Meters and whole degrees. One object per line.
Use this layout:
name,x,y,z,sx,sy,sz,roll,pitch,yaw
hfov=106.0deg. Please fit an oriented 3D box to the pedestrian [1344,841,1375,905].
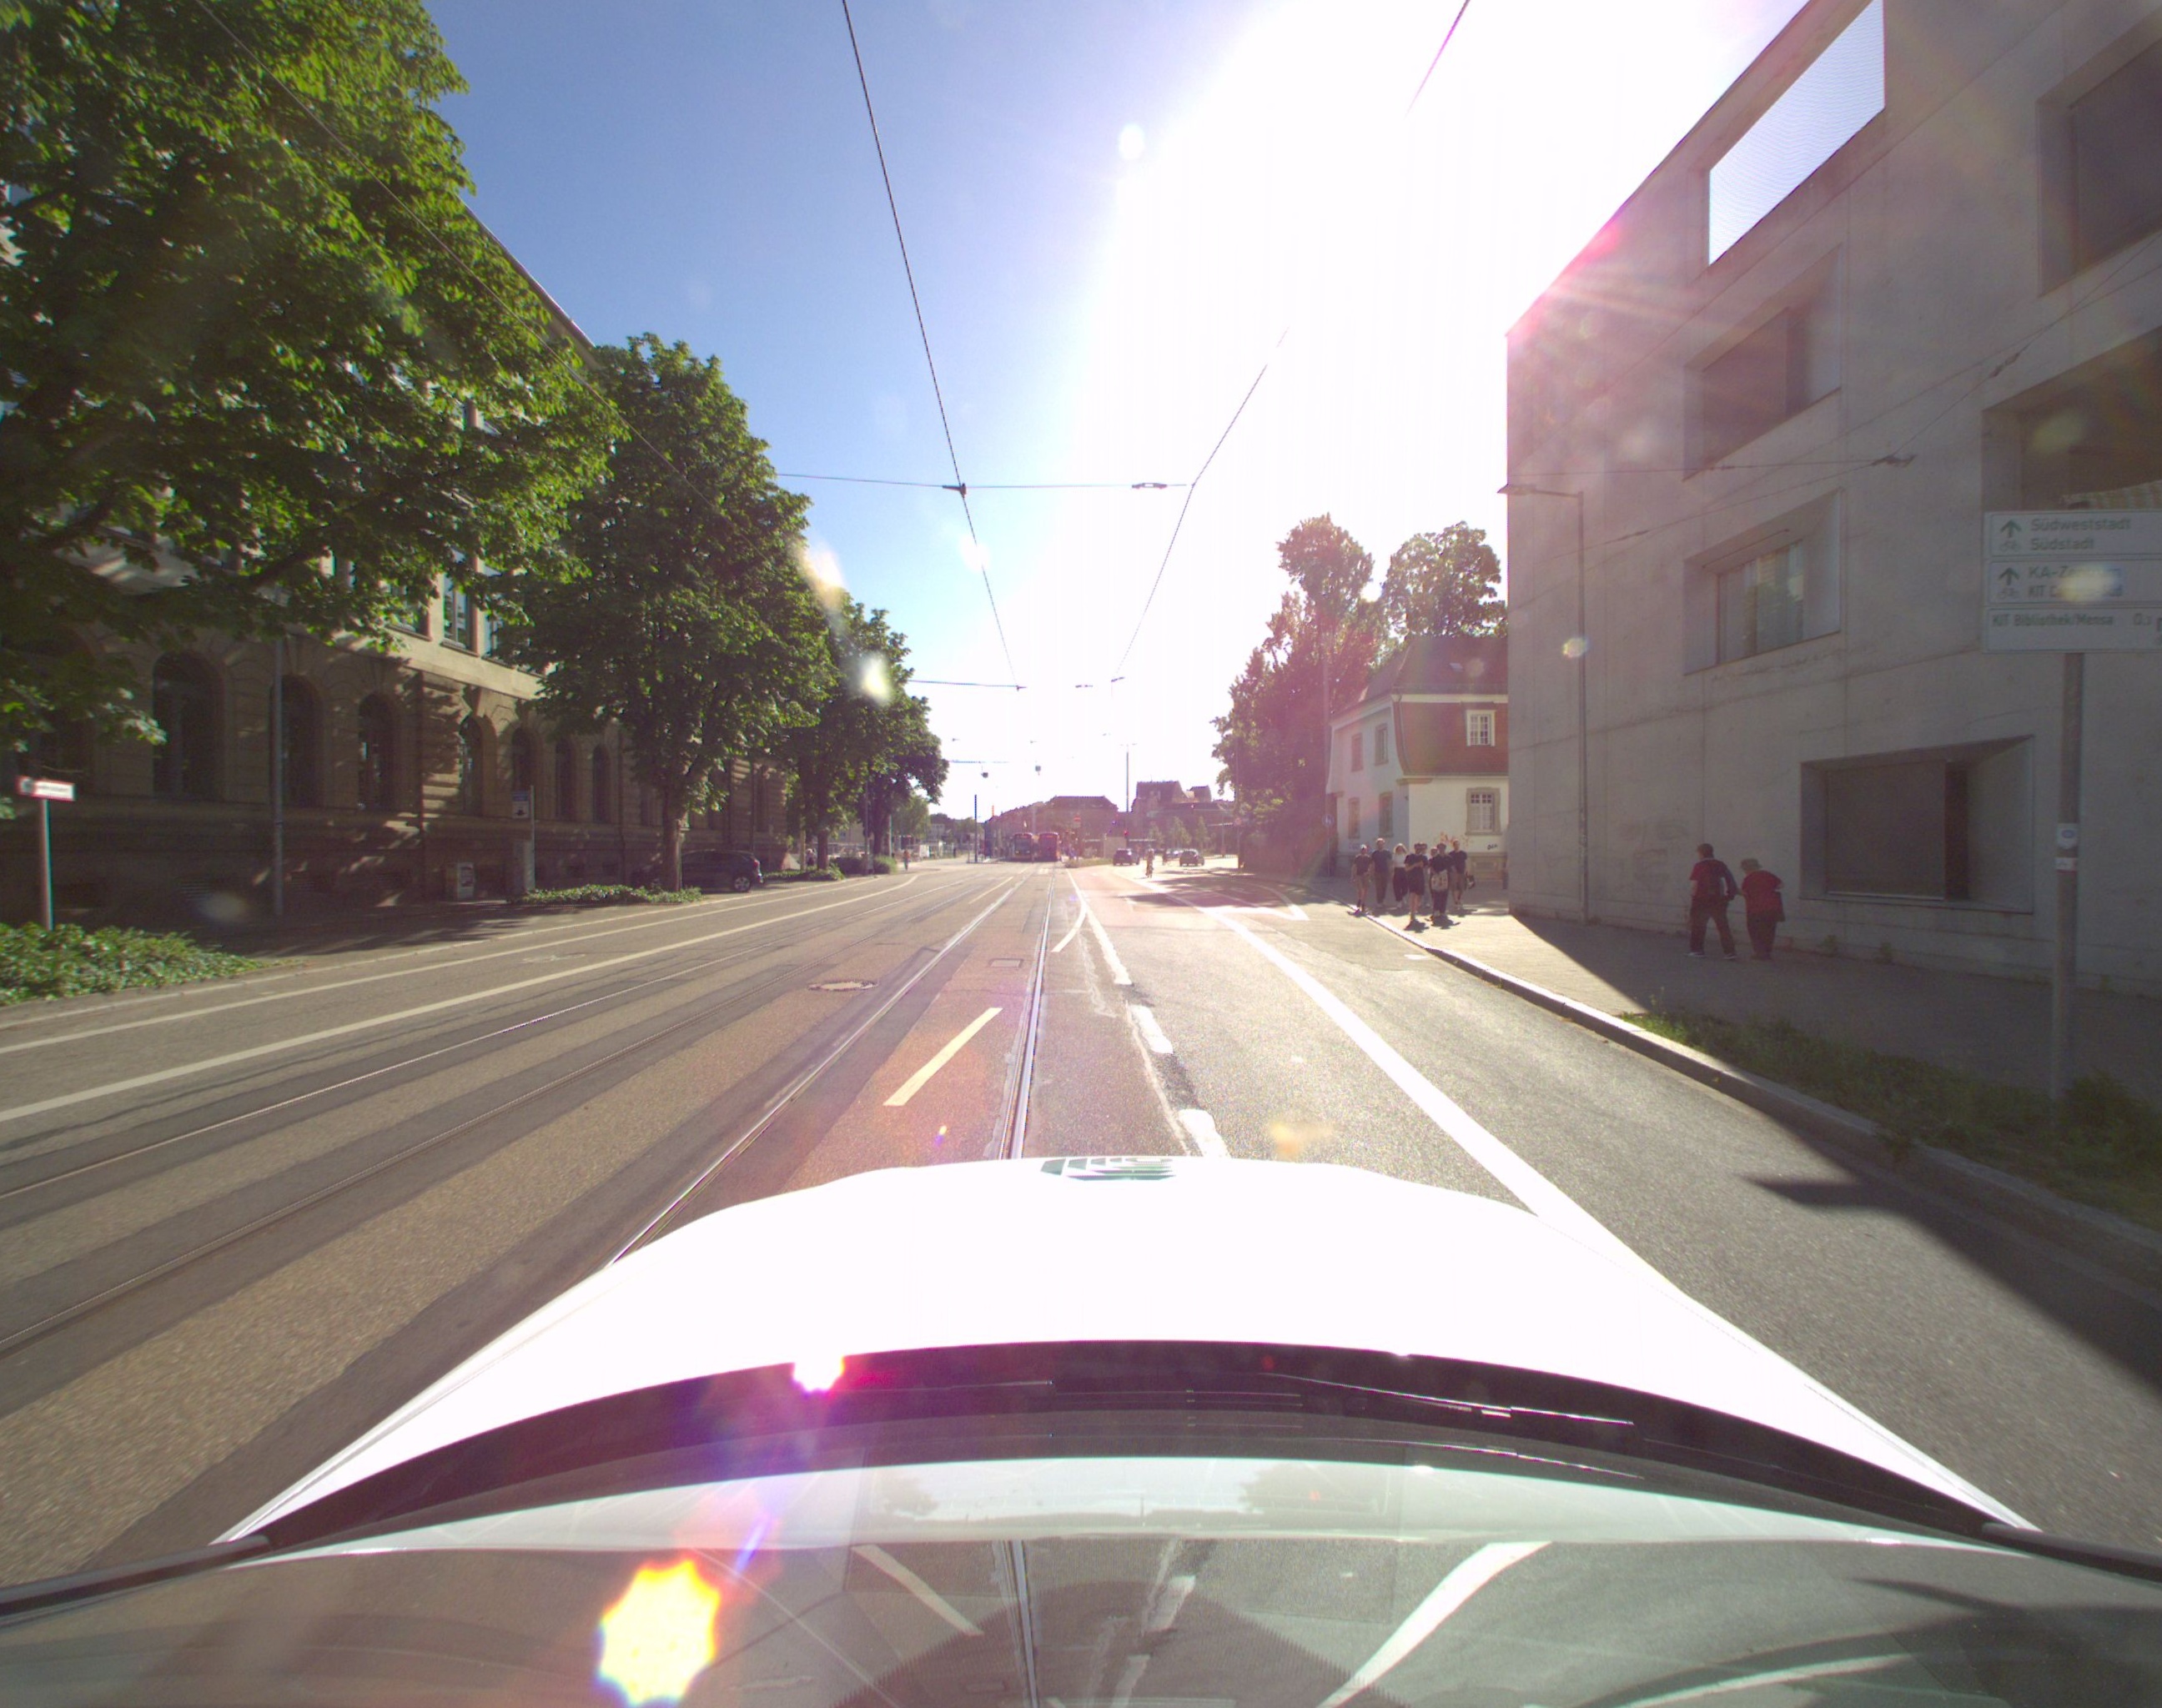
pedestrian,7.899,0.529,23.124,0.603,1.746,0.719,-4,0,6

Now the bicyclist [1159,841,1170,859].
bicyclist,8.042,-0.367,78.210,0.699,1.700,0.992,2,2,23

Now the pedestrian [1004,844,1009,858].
pedestrian,-9.568,-0.391,104.899,0.625,1.827,0.662,0,0,-3

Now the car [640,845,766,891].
car,-13.684,0.482,29.519,4.011,1.550,1.860,0,0,-29

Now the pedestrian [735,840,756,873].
pedestrian,-16.729,0.120,40.638,0.699,1.635,0.759,2,0,-2

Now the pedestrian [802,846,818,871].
pedestrian,-17.017,0.270,51.126,0.925,1.504,0.700,-1,1,-24

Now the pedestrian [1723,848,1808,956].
pedestrian,9.232,0.622,11.007,0.516,1.404,0.765,-1,0,1

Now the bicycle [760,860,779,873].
bicycle,-17.900,0.712,46.861,0.479,0.724,1.619,0,0,0

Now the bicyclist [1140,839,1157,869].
bicyclist,3.877,-0.007,46.424,0.699,1.675,1.106,2,1,18

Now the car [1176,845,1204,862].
car,10.341,-0.104,76.819,1.774,1.511,3.732,1,1,21

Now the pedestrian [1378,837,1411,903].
pedestrian,8.768,0.434,22.756,0.523,1.774,0.740,-5,0,39

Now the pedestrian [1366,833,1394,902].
pedestrian,8.504,0.382,23.166,0.516,1.902,0.613,-4,0,6

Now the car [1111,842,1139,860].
car,4.115,-0.298,75.448,1.775,1.604,3.729,1,1,17

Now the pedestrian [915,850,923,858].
pedestrian,-19.696,0.005,99.026,0.895,1.046,0.655,0,0,-1

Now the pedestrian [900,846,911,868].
pedestrian,-13.353,0.236,61.988,0.638,1.697,0.813,-2,0,-21

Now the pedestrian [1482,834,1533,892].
pedestrian,12.459,0.253,23.804,0.993,1.640,0.855,-1,-1,-17

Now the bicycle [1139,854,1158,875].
bicycle,3.855,0.587,46.405,0.699,1.104,1.725,2,1,18

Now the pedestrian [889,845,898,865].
pedestrian,-16.412,0.100,71.231,0.616,1.697,0.679,0,0,-1

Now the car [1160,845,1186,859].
car,11.081,-0.264,97.966,1.685,1.643,3.736,1,1,33

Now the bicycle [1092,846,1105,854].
bicycle,2.564,-0.636,118.387,1.930,1.103,0.598,0,1,-5

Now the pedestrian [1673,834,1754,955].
pedestrian,8.684,0.537,11.201,0.516,1.600,0.765,-1,0,1

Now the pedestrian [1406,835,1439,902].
pedestrian,9.386,0.387,22.389,0.605,1.774,0.655,-5,0,14

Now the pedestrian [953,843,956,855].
pedestrian,-20.555,-0.789,132.323,0.523,2.013,0.522,-1,0,2

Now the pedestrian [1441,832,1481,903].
pedestrian,10.020,0.348,21.473,0.654,1.802,0.733,-4,0,6

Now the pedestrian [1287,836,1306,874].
pedestrian,11.191,0.040,42.303,0.635,1.903,1.134,-3,1,-1

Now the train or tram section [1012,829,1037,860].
train or tram section,-6.979,-1.255,101.695,2.735,3.651,13.774,0,1,-2

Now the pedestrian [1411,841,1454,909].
pedestrian,8.822,0.524,20.419,0.821,1.604,0.899,-5,0,27

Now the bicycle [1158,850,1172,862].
bicycle,8.079,0.183,78.352,0.699,1.055,2.326,2,2,23

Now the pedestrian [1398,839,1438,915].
pedestrian,7.918,0.528,19.179,0.493,1.727,0.817,-5,0,3

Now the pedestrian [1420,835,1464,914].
pedestrian,8.547,0.467,19.310,0.643,1.763,0.959,-5,0,13

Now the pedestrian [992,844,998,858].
pedestrian,-11.245,-0.391,106.363,0.625,1.827,0.662,0,0,-3

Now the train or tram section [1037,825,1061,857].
train or tram section,-3.897,-1.607,99.102,2.735,3.651,13.774,0,1,-2

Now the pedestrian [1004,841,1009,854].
pedestrian,-10.321,-0.914,113.159,0.625,1.827,0.662,0,0,-3
